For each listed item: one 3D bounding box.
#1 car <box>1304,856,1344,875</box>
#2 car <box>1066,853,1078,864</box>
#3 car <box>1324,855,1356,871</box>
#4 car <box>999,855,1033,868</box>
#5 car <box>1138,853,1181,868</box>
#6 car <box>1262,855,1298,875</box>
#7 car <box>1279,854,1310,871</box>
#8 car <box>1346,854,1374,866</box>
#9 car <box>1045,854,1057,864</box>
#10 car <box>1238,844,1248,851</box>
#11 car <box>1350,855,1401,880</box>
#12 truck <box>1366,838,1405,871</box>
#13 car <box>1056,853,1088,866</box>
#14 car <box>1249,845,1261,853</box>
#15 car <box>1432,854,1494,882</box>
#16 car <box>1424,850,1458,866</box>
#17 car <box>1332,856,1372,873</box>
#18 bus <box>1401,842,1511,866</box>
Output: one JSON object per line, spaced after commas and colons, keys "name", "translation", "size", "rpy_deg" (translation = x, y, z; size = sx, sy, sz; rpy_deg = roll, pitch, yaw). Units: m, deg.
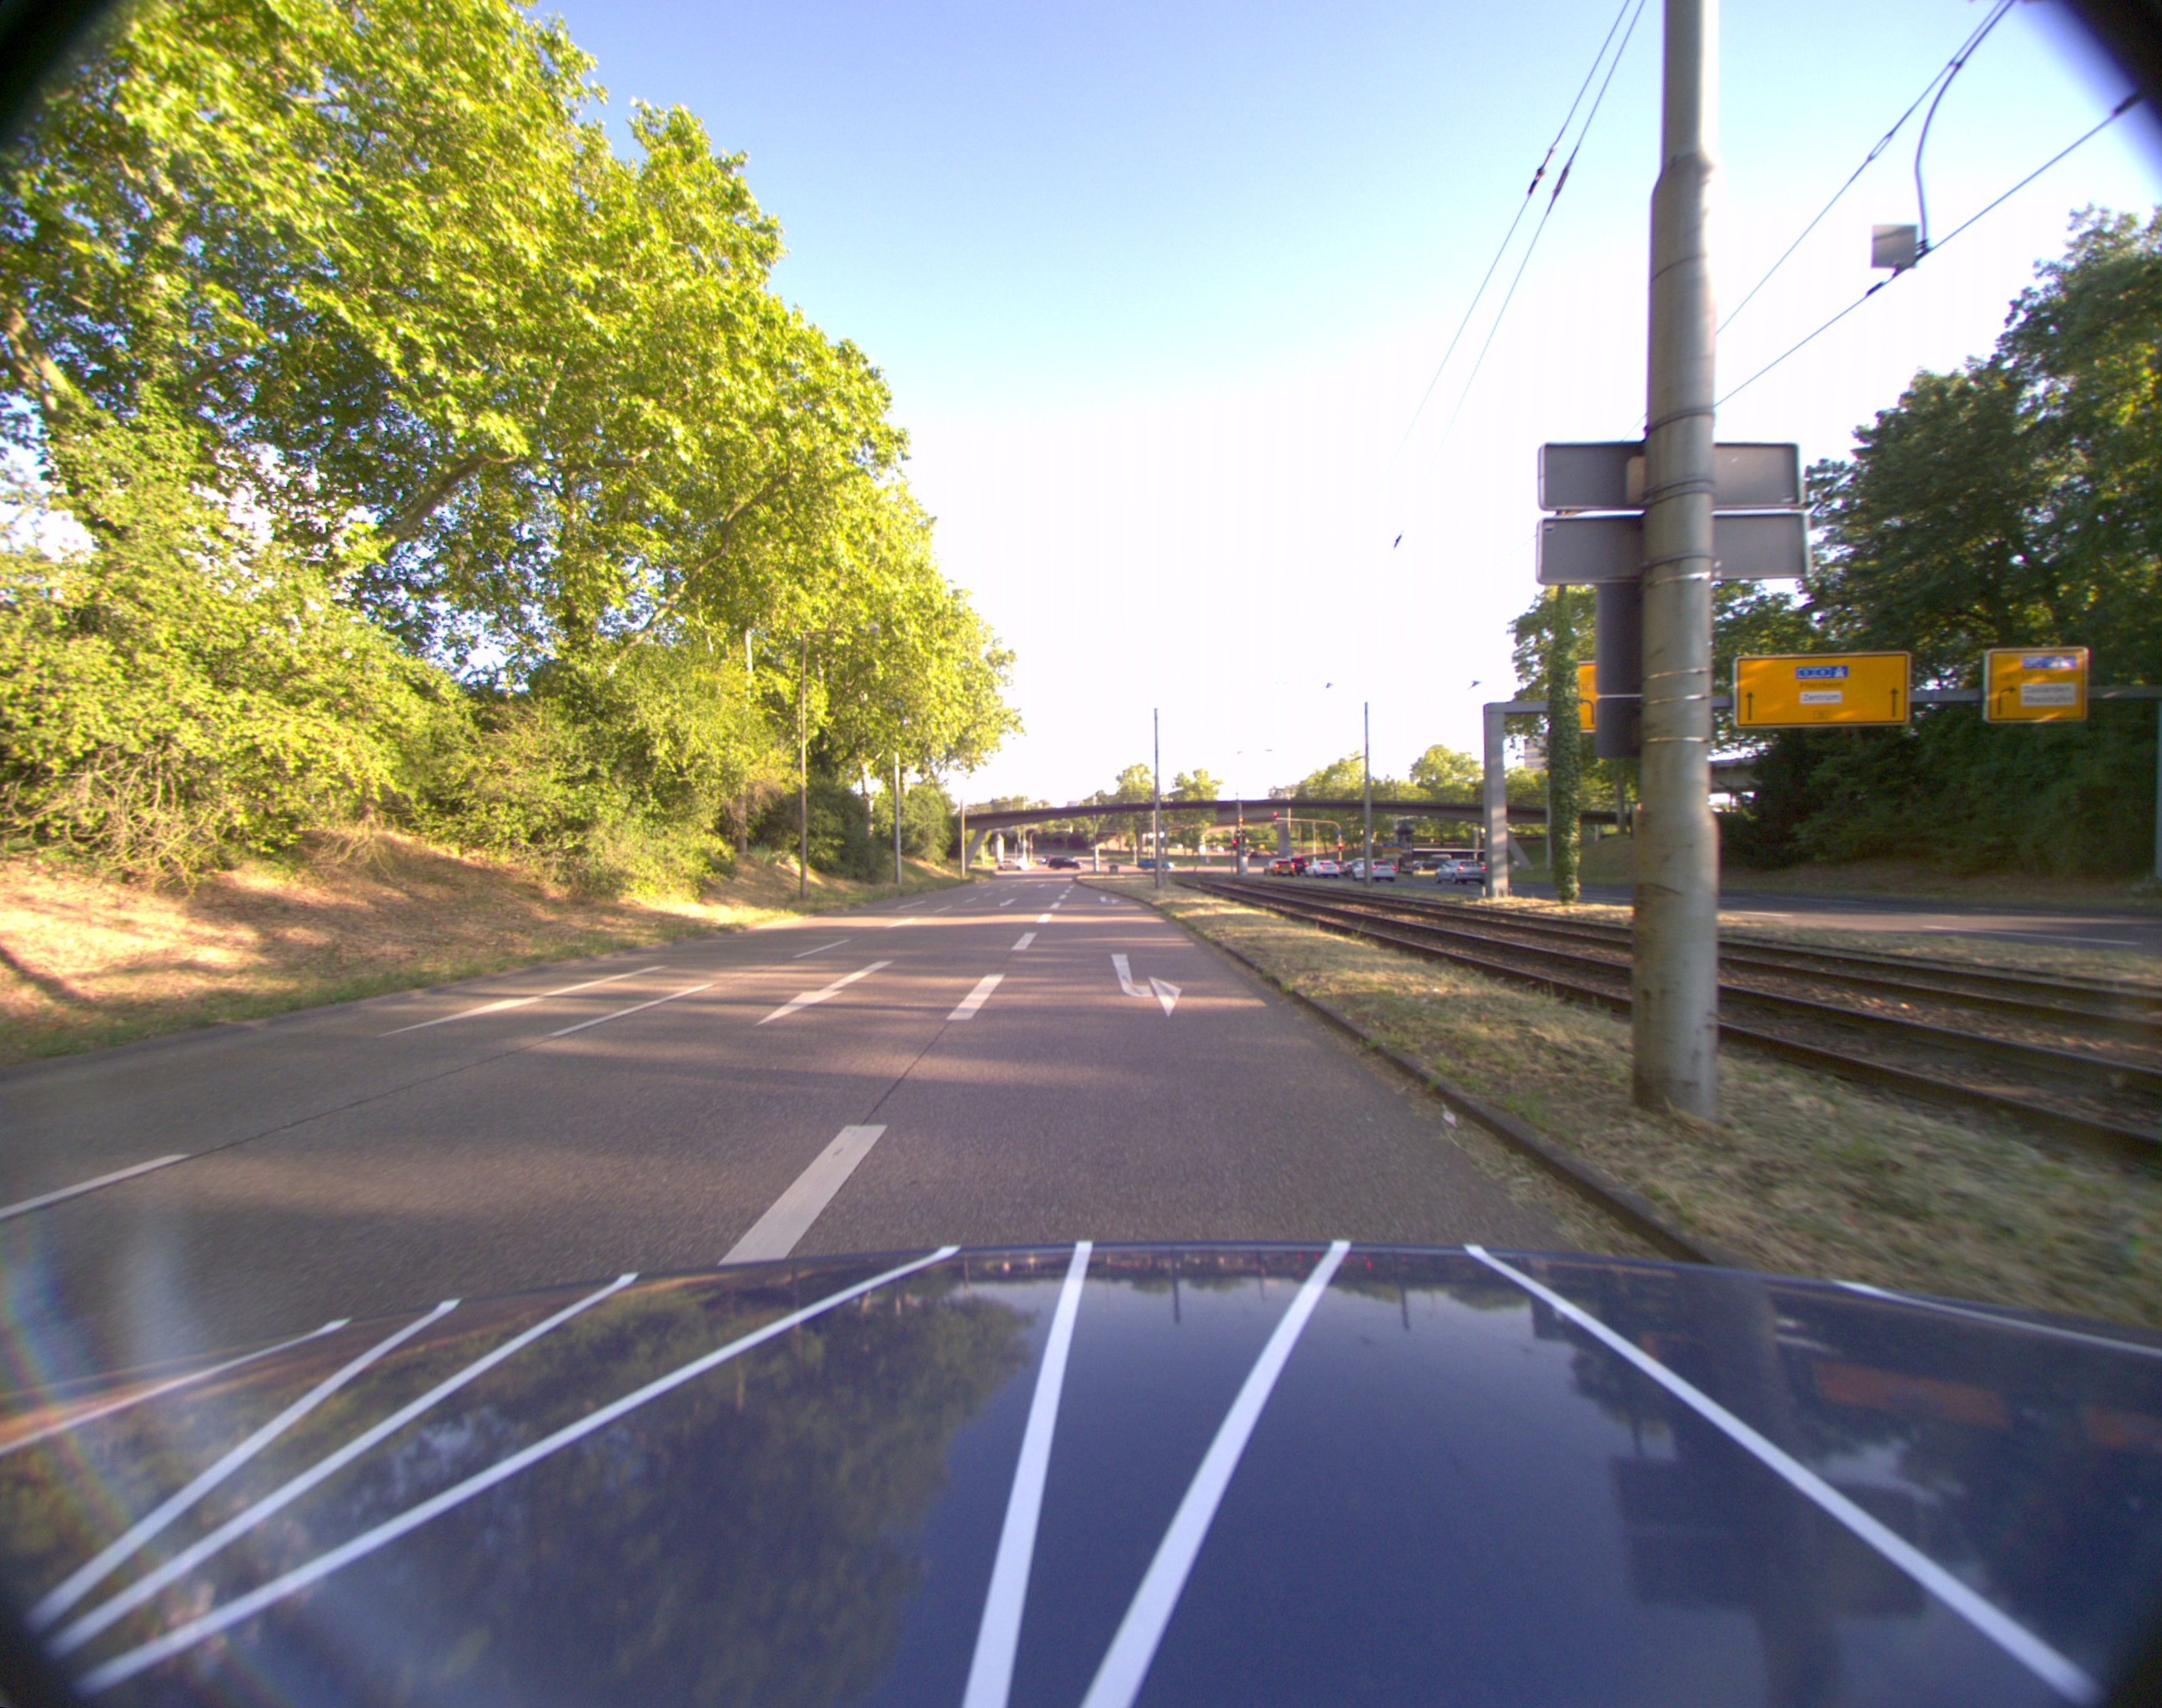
{"name": "car", "translation": [19.614, 0.914, 61.542], "size": [1.918, 1.416, 4.227], "rpy_deg": [-1, 0, 1]}
{"name": "car", "translation": [-1.601, 0.805, 137.050], "size": [1.905, 1.726, 3.998], "rpy_deg": [-2, 0, -5]}
{"name": "car", "translation": [24.636, 0.818, 72.456], "size": [1.917, 1.416, 4.228], "rpy_deg": [-1, 0, 5]}
{"name": "car", "translation": [-8.266, 0.947, 96.912], "size": [4.022, 1.485, 1.625], "rpy_deg": [-2, 1, 16]}
{"name": "car", "translation": [9.503, 0.802, 92.011], "size": [4.799, 1.563, 1.941], "rpy_deg": [-2, 0, 17]}
{"name": "car", "translation": [15.902, 0.881, 60.843], "size": [1.767, 1.535, 4.000], "rpy_deg": [-1, 0, 0]}
{"name": "car", "translation": [19.687, 0.747, 70.224], "size": [1.917, 1.540, 4.228], "rpy_deg": [-1, 0, 3]}
{"name": "car", "translation": [39.562, 0.883, 107.552], "size": [3.647, 1.503, 1.665], "rpy_deg": [-2, 0, 21]}
{"name": "car", "translation": [-5.373, 0.842, 134.750], "size": [1.960, 1.779, 3.998], "rpy_deg": [-2, 0, -5]}
{"name": "car", "translation": [37.133, -1.515, 174.460], "size": [1.832, 1.608, 3.983], "rpy_deg": [-2, 1, 7]}
{"name": "car", "translation": [19.512, 0.883, 50.519], "size": [1.767, 1.535, 4.000], "rpy_deg": [-1, 0, 0]}
{"name": "truck", "translation": [28.108, -0.001, 70.450], "size": [2.281, 2.862, 6.887], "rpy_deg": [-1, 0, 13]}
{"name": "car", "translation": [-1.175, 0.743, 99.225], "size": [4.012, 1.485, 1.695], "rpy_deg": [-2, 1, -4]}
{"name": "car", "translation": [36.843, -1.040, 160.917], "size": [1.832, 1.608, 3.983], "rpy_deg": [-2, 1, 7]}
{"name": "car", "translation": [22.758, 0.805, 45.442], "size": [1.812, 1.535, 4.001], "rpy_deg": [-1, 0, 2]}
{"name": "car", "translation": [46.901, 0.512, 99.108], "size": [3.805, 1.848, 1.679], "rpy_deg": [-2, 1, 20]}
{"name": "car", "translation": [23.466, 0.883, 65.917], "size": [1.868, 1.416, 4.226], "rpy_deg": [-1, 0, 0]}
{"name": "bus", "translation": [50.303, 0.036, 102.424], "size": [13.162, 2.846, 2.421], "rpy_deg": [-2, 0, 24]}
